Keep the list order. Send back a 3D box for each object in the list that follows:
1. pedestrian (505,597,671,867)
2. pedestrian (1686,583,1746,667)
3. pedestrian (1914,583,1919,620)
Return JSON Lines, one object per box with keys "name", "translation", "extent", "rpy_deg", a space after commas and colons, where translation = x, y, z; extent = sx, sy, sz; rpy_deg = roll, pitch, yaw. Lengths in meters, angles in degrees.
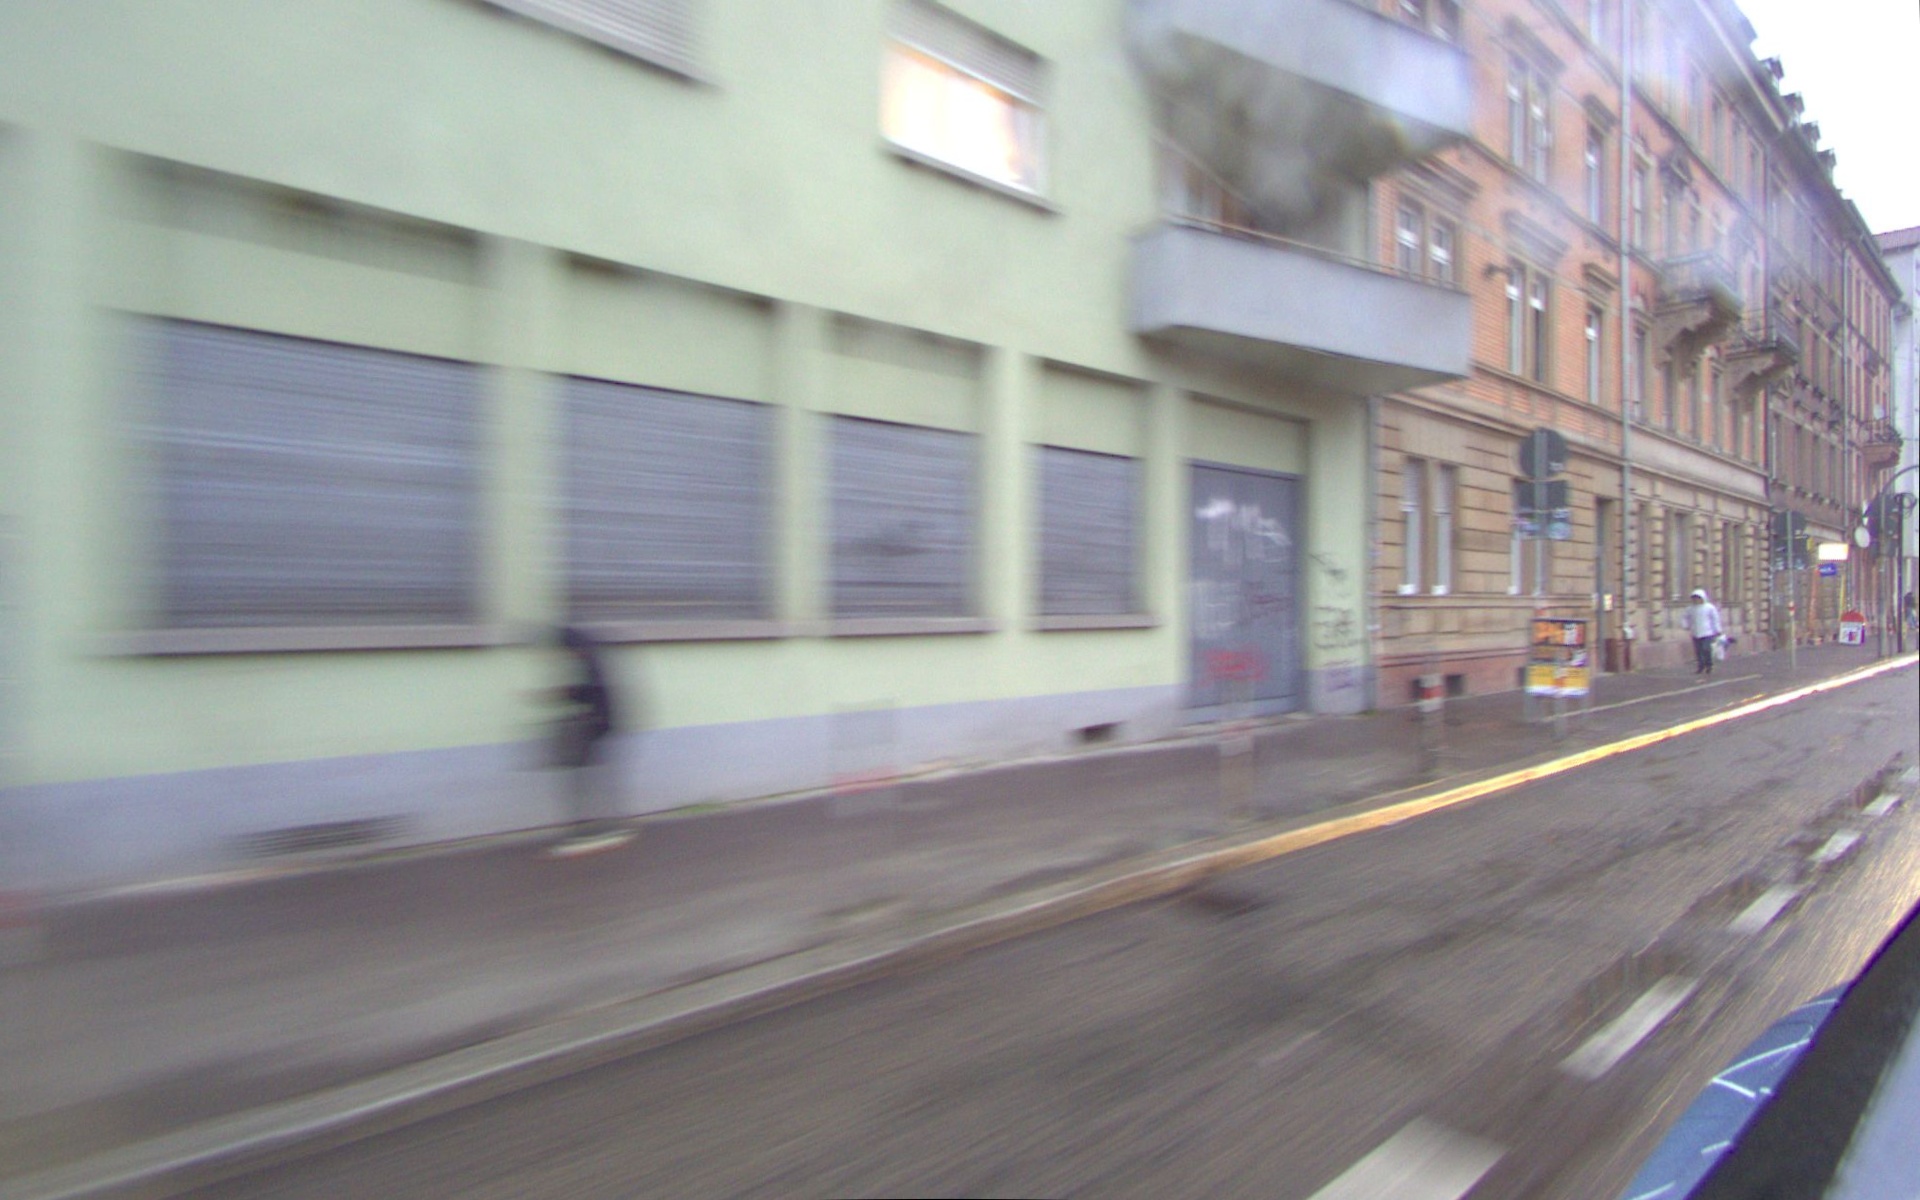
{"name": "pedestrian", "translation": [-2.102, 0.683, 5.717], "extent": [0.716, 1.394, 0.601], "rpy_deg": [0, 0, -41]}
{"name": "pedestrian", "translation": [14.978, 0.474, 20.062], "extent": [0.728, 1.617, 0.788], "rpy_deg": [0, 0, -37]}
{"name": "pedestrian", "translation": [45.927, 0.086, 48.067], "extent": [0.661, 1.766, 0.777], "rpy_deg": [0, 1, -40]}
